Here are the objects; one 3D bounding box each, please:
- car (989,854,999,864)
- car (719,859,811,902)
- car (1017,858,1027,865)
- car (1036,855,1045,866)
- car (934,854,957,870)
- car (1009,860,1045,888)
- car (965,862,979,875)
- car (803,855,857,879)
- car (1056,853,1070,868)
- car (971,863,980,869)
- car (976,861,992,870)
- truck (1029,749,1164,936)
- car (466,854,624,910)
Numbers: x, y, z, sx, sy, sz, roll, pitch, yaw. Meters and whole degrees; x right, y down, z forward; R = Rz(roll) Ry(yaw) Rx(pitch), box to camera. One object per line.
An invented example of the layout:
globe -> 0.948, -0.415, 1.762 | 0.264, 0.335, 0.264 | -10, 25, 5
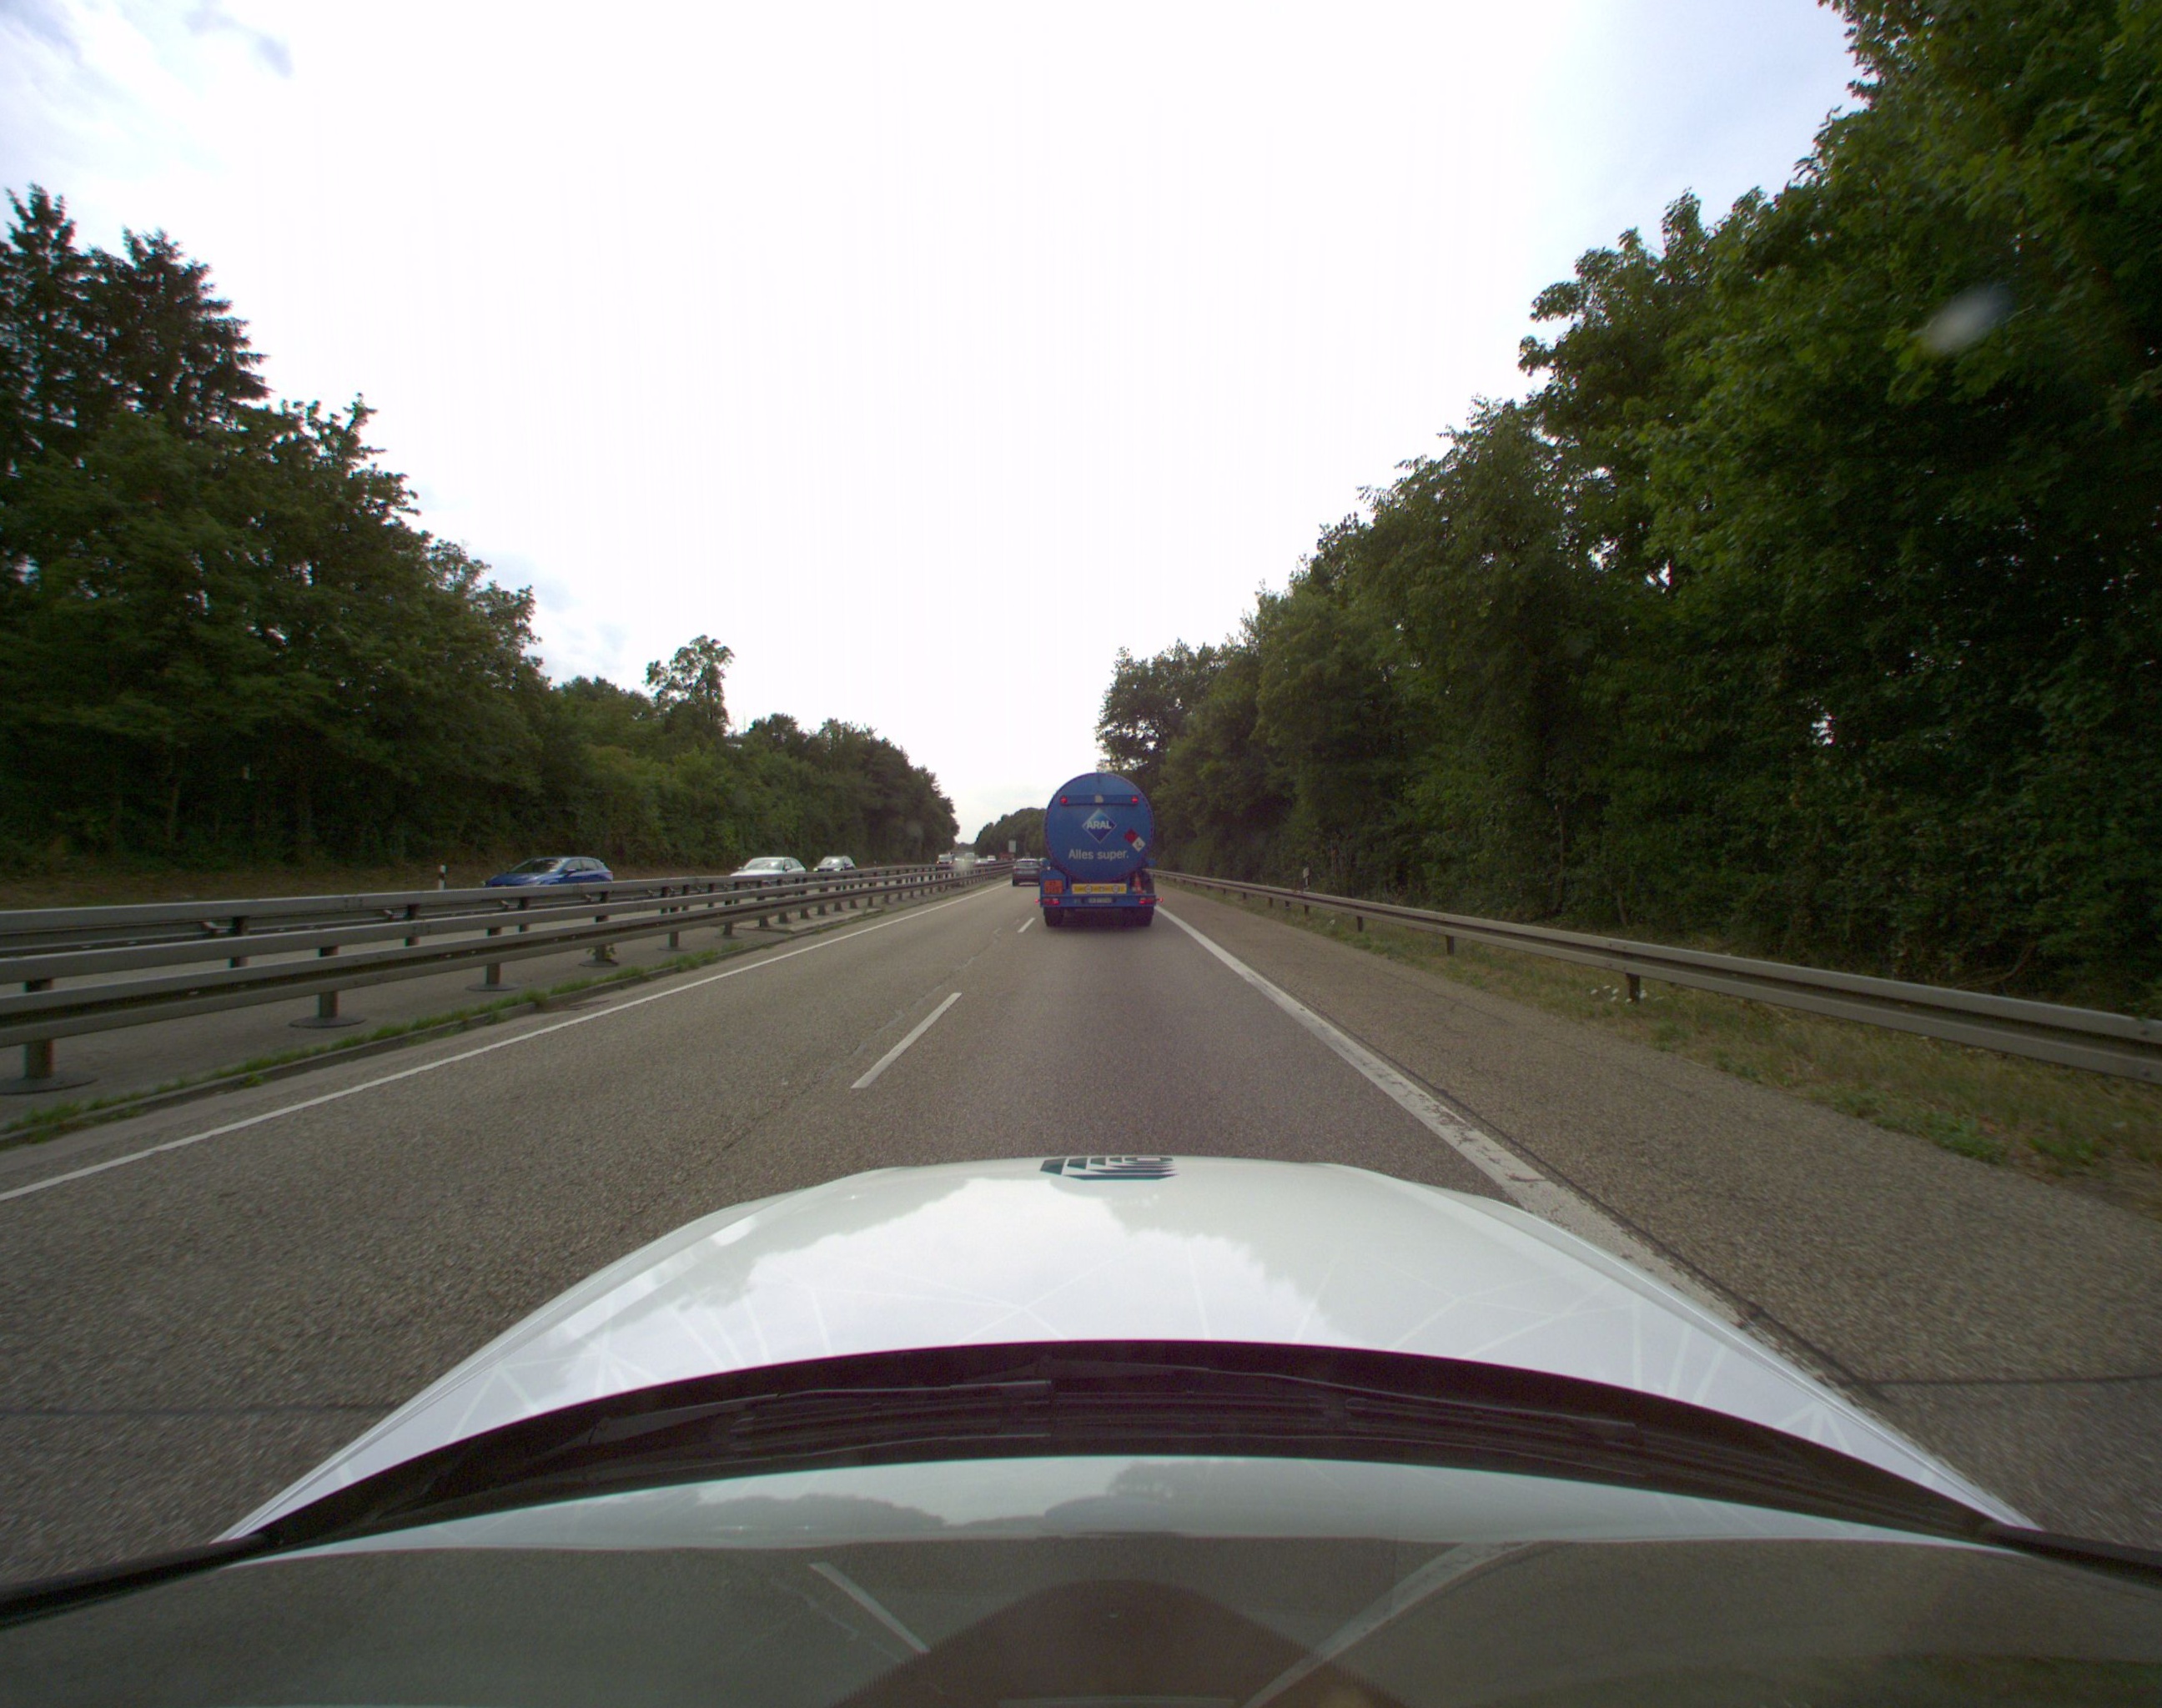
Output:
car -> -18.894, 1.132, 176.721 | 1.817, 1.983, 5.053 | -1, -1, -2
car -> -11.405, 0.918, 29.707 | 1.706, 1.427, 4.056 | -1, -1, 0
car -> -13.000, 1.713, 179.305 | 1.993, 1.552, 3.988 | -1, -1, -9
car -> -9.111, 1.487, 185.622 | 1.989, 2.245, 3.996 | -1, -1, -3
car -> -16.873, 1.005, 101.362 | 2.029, 1.804, 5.121 | -1, -1, 0
car -> -3.216, 1.170, 49.109 | 1.820, 1.609, 4.167 | -1, -1, 0
car -> -22.245, 2.885, 165.900 | 2.306, 2.611, 5.547 | -1, -1, -2
car -> -14.736, 0.776, 47.985 | 1.972, 1.300, 4.066 | -1, -1, -1
car -> -2.657, 0.960, 119.687 | 1.987, 2.245, 3.998 | -1, -1, -1
car -> -24.329, 2.720, 187.687 | 1.770, 1.296, 4.102 | -1, -1, -3
car -> -13.428, 1.601, 112.759 | 1.650, 1.278, 4.711 | 0, -1, 0
truck -> 0.427, -0.204, 20.778 | 2.745, 3.847, 7.690 | -1, -1, 1
car -> -15.219, 0.763, 23.408 | 1.805, 1.450, 4.056 | -1, -1, 0
